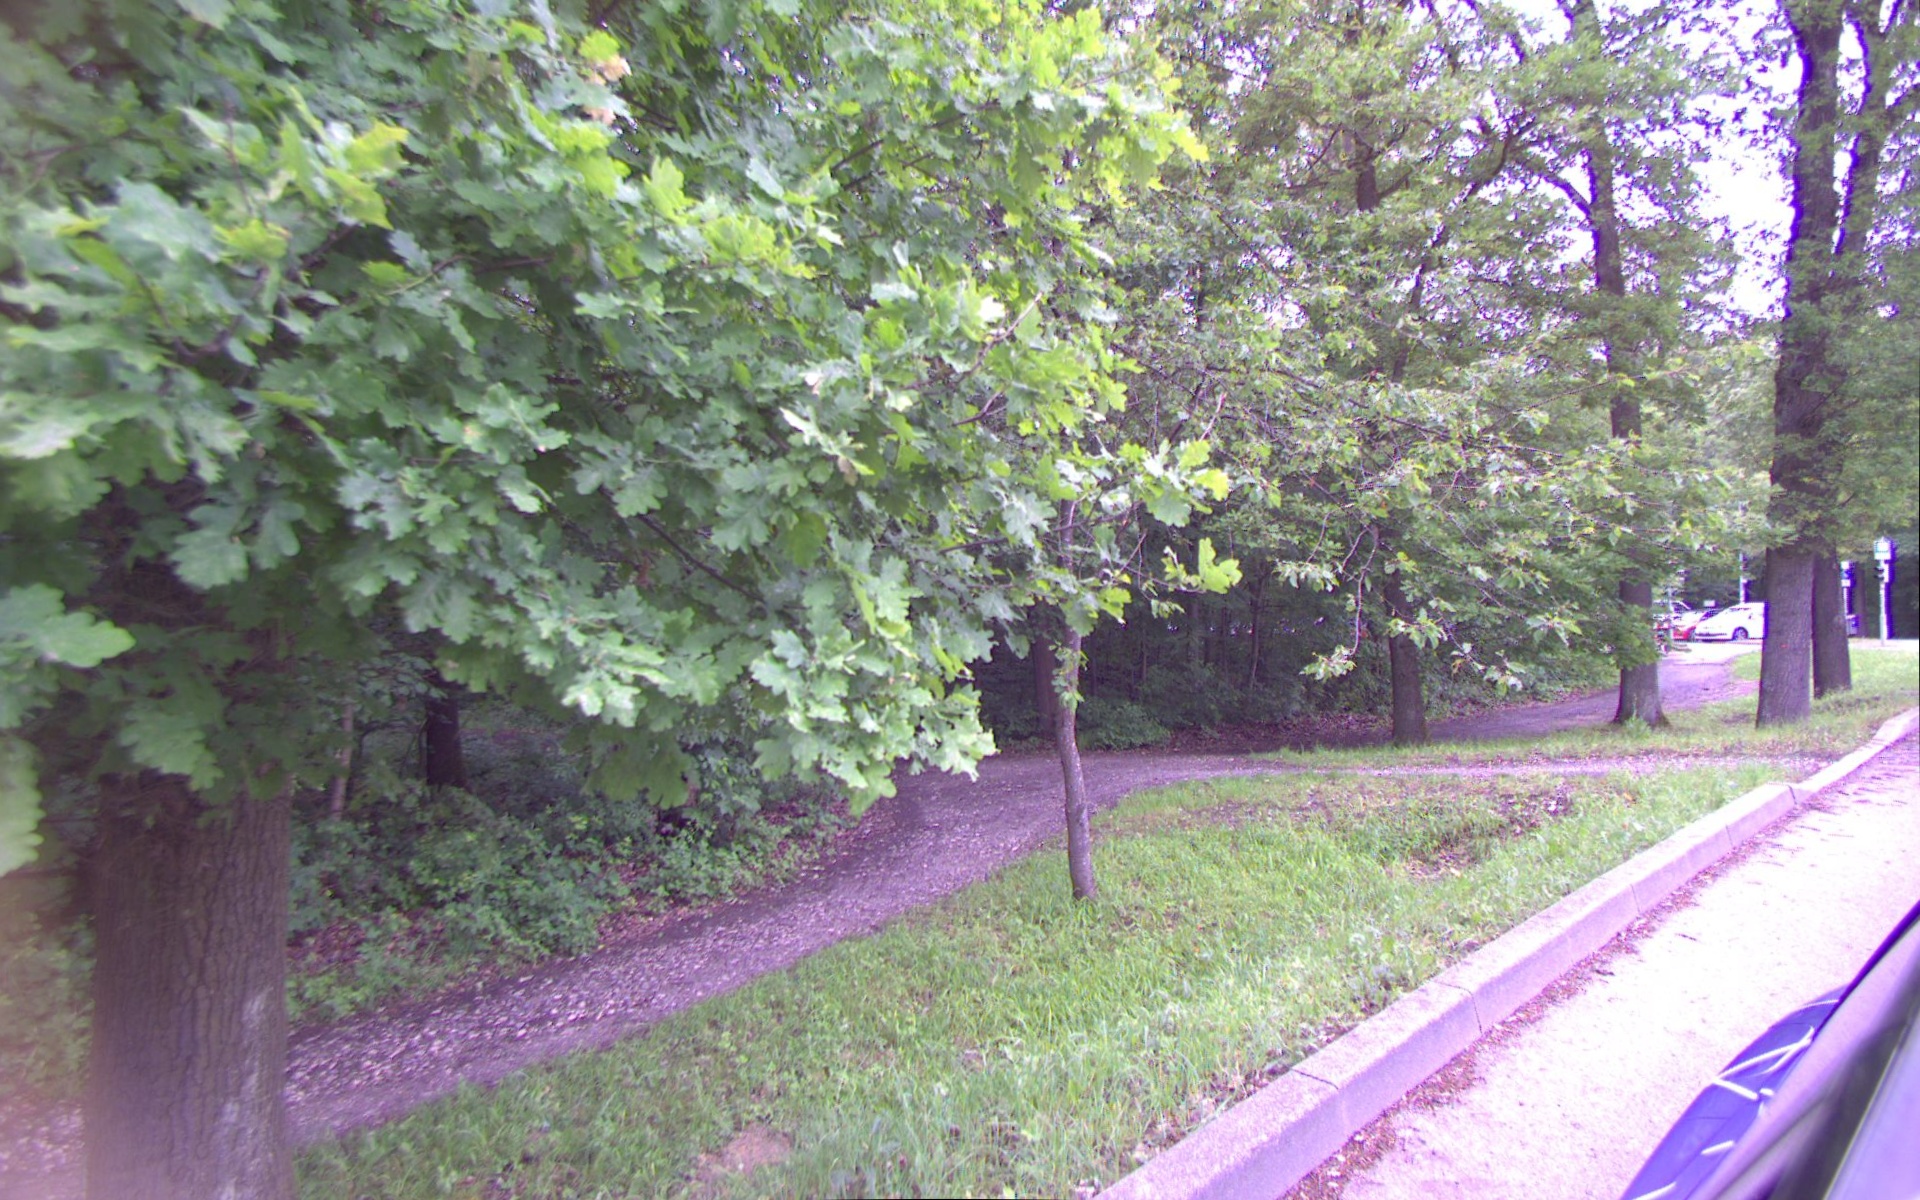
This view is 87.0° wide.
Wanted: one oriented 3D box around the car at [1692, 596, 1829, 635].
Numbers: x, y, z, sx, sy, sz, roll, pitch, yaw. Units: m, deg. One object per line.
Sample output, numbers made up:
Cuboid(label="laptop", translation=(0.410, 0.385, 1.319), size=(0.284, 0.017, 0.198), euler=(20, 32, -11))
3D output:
Cuboid(label="car", translation=(33.959, 0.665, 43.018), size=(4.332, 1.572, 2.001), euler=(-1, -2, -6))

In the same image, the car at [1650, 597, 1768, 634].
Cuboid(label="car", translation=(33.622, 0.704, 45.501), size=(3.920, 1.572, 1.896), euler=(-1, -2, -6))

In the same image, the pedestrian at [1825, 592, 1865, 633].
Cuboid(label="pedestrian", translation=(37.171, 0.507, 42.507), size=(1.085, 1.697, 0.901), euler=(-1, 0, 31))

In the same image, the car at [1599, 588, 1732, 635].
Cuboid(label="car", translation=(33.508, 0.574, 48.147), size=(5.077, 1.982, 2.065), euler=(-2, -2, -10))
